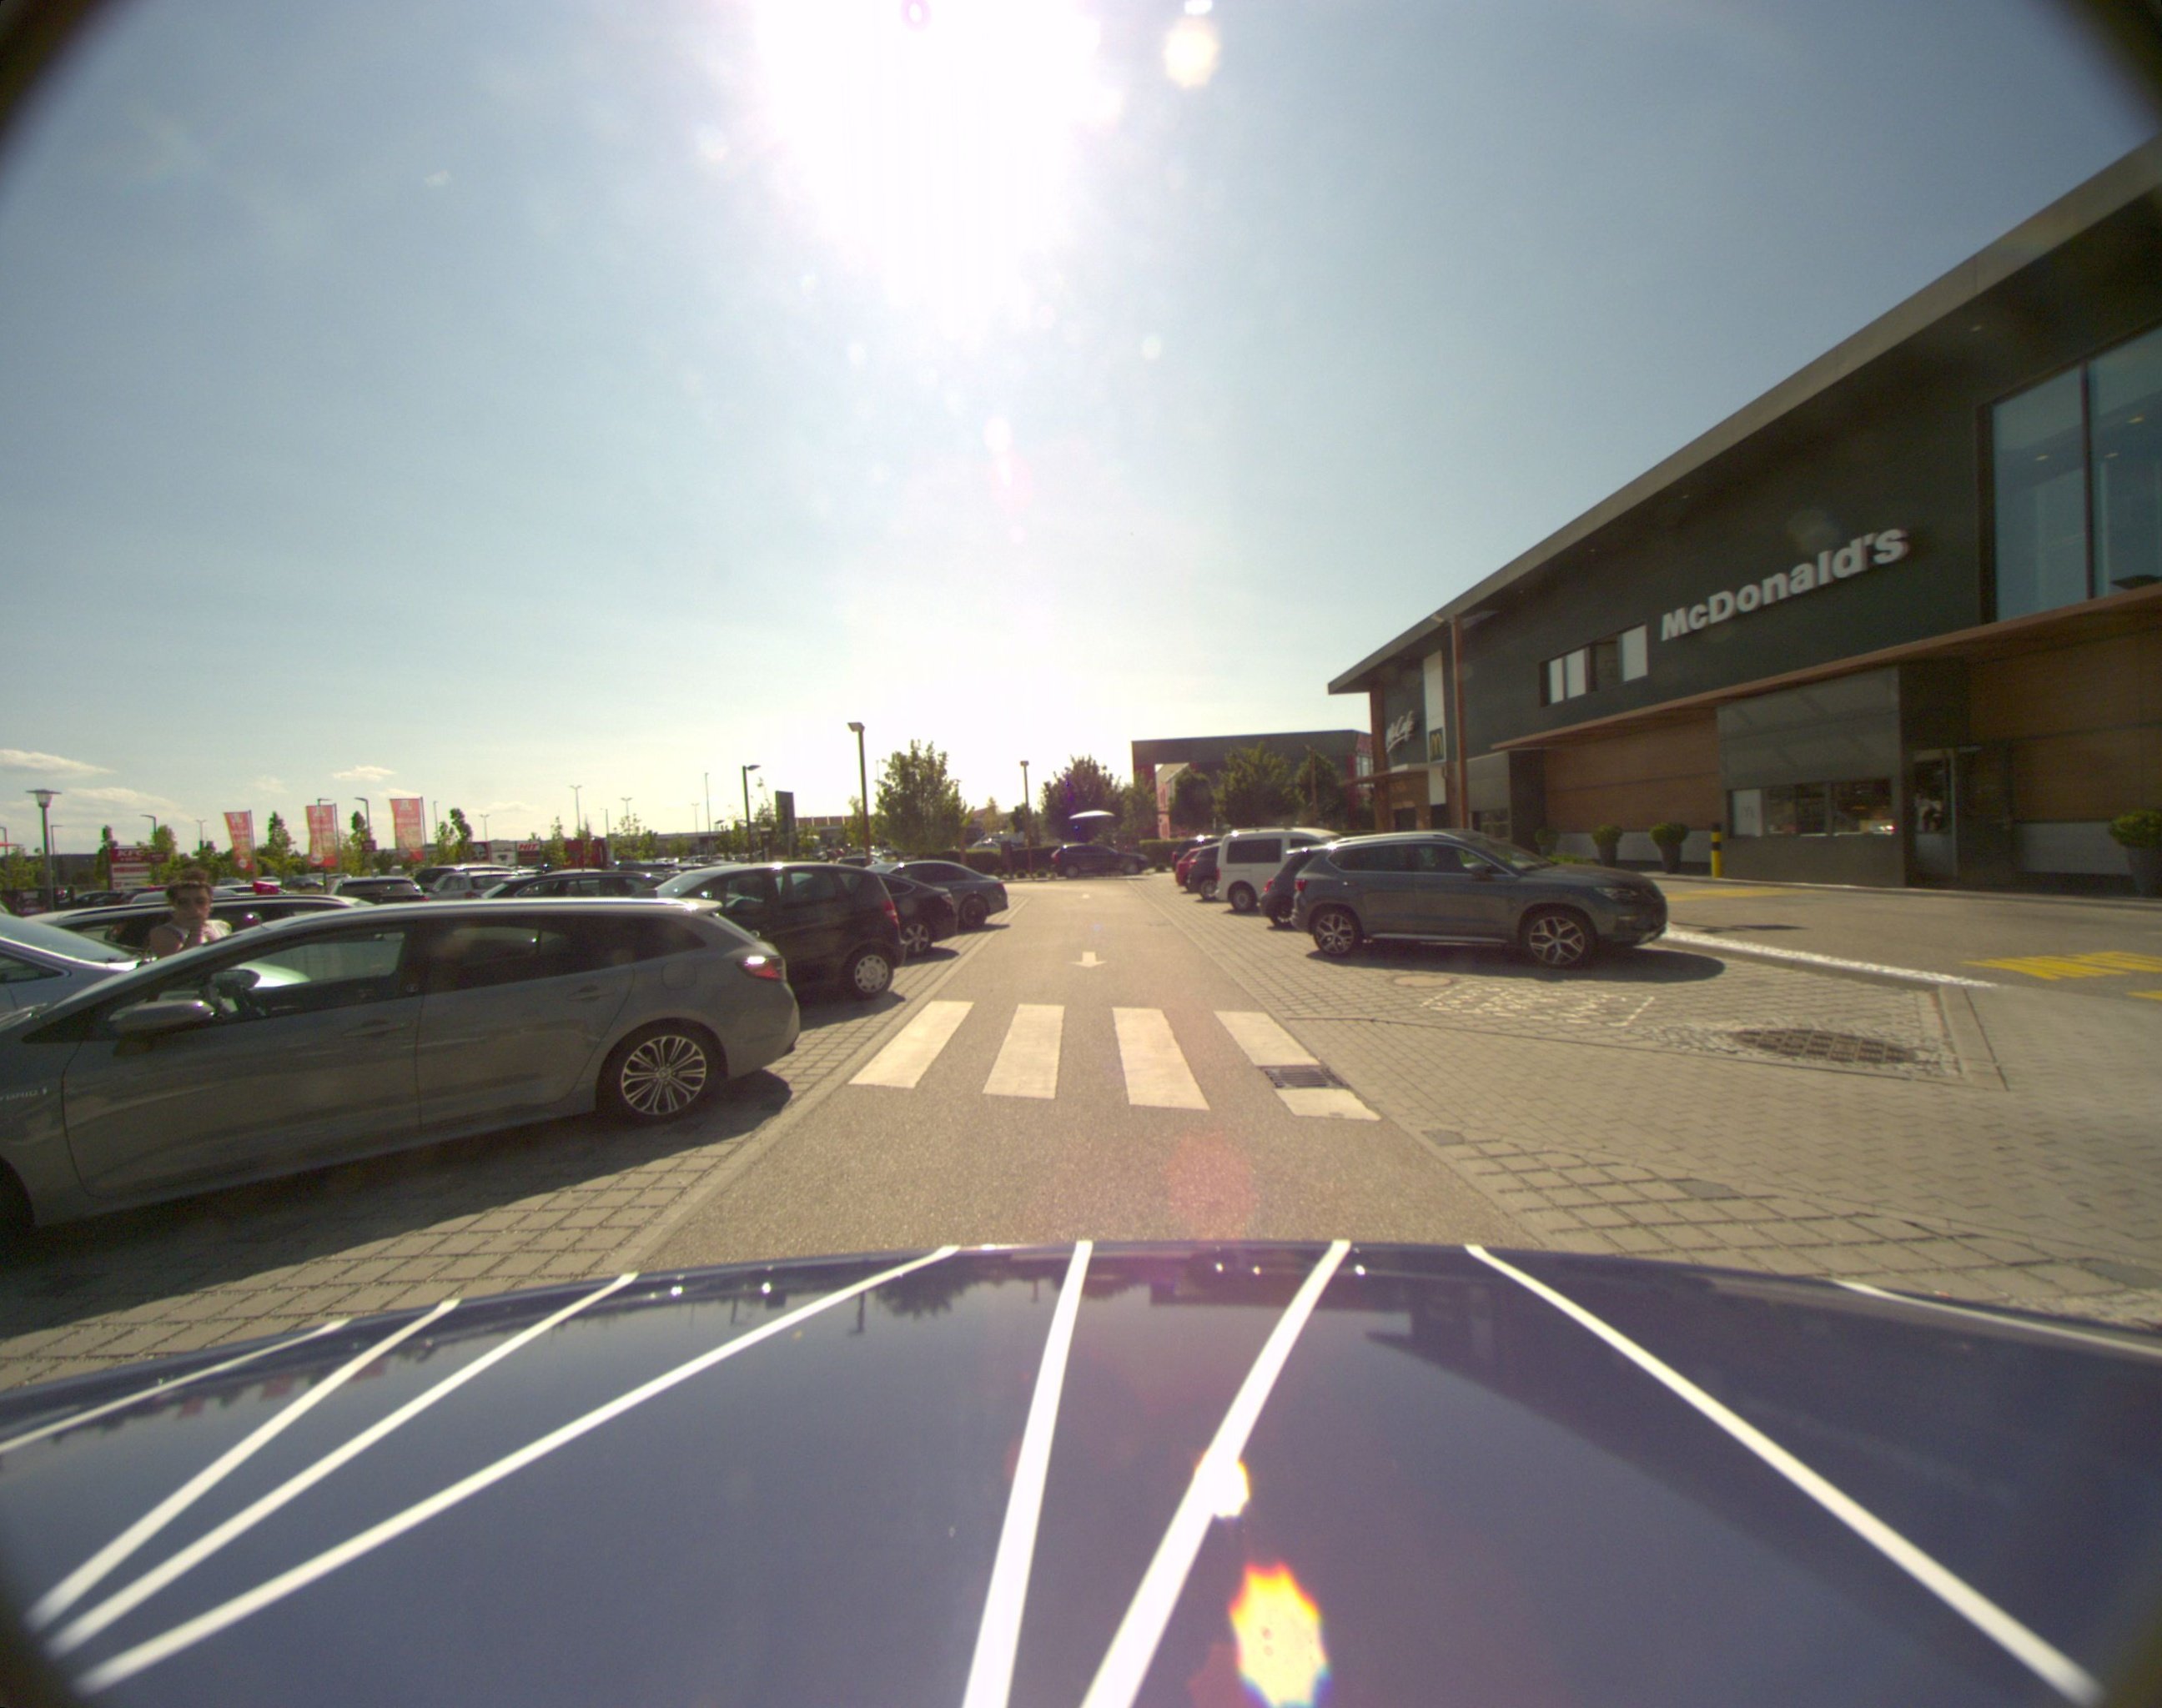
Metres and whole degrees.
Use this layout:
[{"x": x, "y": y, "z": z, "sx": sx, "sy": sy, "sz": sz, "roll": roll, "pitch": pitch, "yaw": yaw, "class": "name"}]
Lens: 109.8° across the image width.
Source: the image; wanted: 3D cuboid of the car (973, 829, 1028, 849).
[{"x": -10.247, "y": -1.915, "z": 97.139, "sx": 6.567, "sy": 2.231, "sz": 2.300, "roll": -2, "pitch": 1, "yaw": 0, "class": "car"}]

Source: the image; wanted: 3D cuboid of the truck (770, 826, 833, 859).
[{"x": -31.193, "y": -1.252, "z": 84.579, "sx": 7.545, "sy": 3.333, "sz": 2.426, "roll": -1, "pitch": 2, "yaw": 34, "class": "truck"}]

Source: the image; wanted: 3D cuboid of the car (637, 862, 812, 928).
[{"x": -9.552, "y": 1.030, "z": 20.530, "sx": 3.910, "sy": 1.418, "sz": 1.702, "roll": -3, "pitch": 1, "yaw": -42, "class": "car"}]

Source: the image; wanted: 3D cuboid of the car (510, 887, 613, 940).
[{"x": -16.814, "y": 1.839, "z": 24.501, "sx": 4.669, "sy": 1.403, "sz": 1.715, "roll": -1, "pitch": 2, "yaw": 43, "class": "car"}]

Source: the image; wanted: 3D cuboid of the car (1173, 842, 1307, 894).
[{"x": 5.021, "y": 0.455, "z": 24.082, "sx": 3.763, "sy": 1.435, "sz": 1.678, "roll": -3, "pitch": 1, "yaw": 29, "class": "car"}]

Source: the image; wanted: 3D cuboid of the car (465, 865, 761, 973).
[{"x": -8.754, "y": 1.084, "z": 14.476, "sx": 4.425, "sy": 1.502, "sz": 1.978, "roll": -4, "pitch": 2, "yaw": -44, "class": "car"}]

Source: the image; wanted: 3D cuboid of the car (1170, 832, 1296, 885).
[{"x": 5.434, "y": 0.191, "z": 27.349, "sx": 4.029, "sy": 1.696, "sz": 1.678, "roll": -2, "pitch": 2, "yaw": 32, "class": "car"}]

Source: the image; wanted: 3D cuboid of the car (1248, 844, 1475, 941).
[{"x": 4.910, "y": 0.643, "z": 13.472, "sx": 3.406, "sy": 1.473, "sz": 1.571, "roll": -2, "pitch": 1, "yaw": 38, "class": "car"}]

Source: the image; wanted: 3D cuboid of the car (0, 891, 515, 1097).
[{"x": -8.429, "y": 1.223, "z": 7.659, "sx": 1.788, "sy": 1.400, "sz": 4.090, "roll": -1, "pitch": 1, "yaw": 45, "class": "car"}]

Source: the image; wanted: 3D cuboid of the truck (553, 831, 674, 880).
[{"x": -40.803, "y": 0.109, "z": 66.420, "sx": 9.115, "sy": 3.844, "sz": 3.212, "roll": -2, "pitch": 1, "yaw": 12, "class": "truck"}]

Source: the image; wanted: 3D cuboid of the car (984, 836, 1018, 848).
[{"x": -9.898, "y": -1.462, "z": 94.104, "sx": 3.905, "sy": 1.334, "sz": 1.665, "roll": -2, "pitch": 1, "yaw": 0, "class": "car"}]

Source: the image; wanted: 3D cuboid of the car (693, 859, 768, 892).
[{"x": -16.721, "y": 1.011, "z": 36.159, "sx": 3.765, "sy": 1.414, "sz": 1.917, "roll": -1, "pitch": 2, "yaw": 44, "class": "car"}]

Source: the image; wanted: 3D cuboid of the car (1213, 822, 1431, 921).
[{"x": 5.204, "y": 0.352, "z": 16.684, "sx": 4.133, "sy": 1.910, "sz": 1.761, "roll": -1, "pitch": 2, "yaw": 40, "class": "car"}]

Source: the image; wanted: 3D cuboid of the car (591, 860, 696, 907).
[{"x": -16.465, "y": 1.094, "z": 28.527, "sx": 4.044, "sy": 1.547, "sz": 1.810, "roll": -2, "pitch": 2, "yaw": 35, "class": "car"}]

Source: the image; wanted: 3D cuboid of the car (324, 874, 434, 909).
[{"x": -35.216, "y": 1.854, "z": 38.235, "sx": 1.685, "sy": 1.445, "sz": 3.756, "roll": -2, "pitch": 1, "yaw": 8, "class": "car"}]

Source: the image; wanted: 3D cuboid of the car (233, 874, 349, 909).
[{"x": -40.543, "y": 1.894, "z": 39.120, "sx": 1.685, "sy": 1.445, "sz": 3.756, "roll": -2, "pitch": 1, "yaw": 8, "class": "car"}]

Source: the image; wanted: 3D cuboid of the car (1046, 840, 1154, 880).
[{"x": 0.879, "y": 0.263, "z": 36.751, "sx": 5.061, "sy": 1.620, "sz": 1.924, "roll": -3, "pitch": 1, "yaw": -1, "class": "car"}]

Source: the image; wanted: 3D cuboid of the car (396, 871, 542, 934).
[{"x": -17.163, "y": 1.307, "z": 21.260, "sx": 4.341, "sy": 1.503, "sz": 1.782, "roll": -2, "pitch": 2, "yaw": 32, "class": "car"}]

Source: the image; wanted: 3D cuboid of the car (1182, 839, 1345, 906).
[{"x": 4.878, "y": 0.494, "z": 20.483, "sx": 3.834, "sy": 1.623, "sz": 1.761, "roll": -2, "pitch": 2, "yaw": 34, "class": "car"}]

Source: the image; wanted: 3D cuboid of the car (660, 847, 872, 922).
[{"x": -7.794, "y": 0.684, "z": 19.082, "sx": 4.425, "sy": 1.502, "sz": 1.978, "roll": -4, "pitch": 2, "yaw": -44, "class": "car"}]

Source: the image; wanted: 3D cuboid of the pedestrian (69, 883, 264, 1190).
[{"x": -5.628, "y": 1.058, "z": 4.722, "sx": 0.564, "sy": 1.703, "sz": 0.609, "roll": -4, "pitch": 2, "yaw": -37, "class": "pedestrian"}]

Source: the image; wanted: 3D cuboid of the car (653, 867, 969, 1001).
[{"x": -3.945, "y": 1.038, "z": 11.552, "sx": 4.083, "sy": 1.440, "sz": 1.823, "roll": -4, "pitch": 2, "yaw": -44, "class": "car"}]

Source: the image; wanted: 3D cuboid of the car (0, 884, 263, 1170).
[{"x": -7.865, "y": 1.130, "z": 4.422, "sx": 4.075, "sy": 1.630, "sz": 1.743, "roll": -3, "pitch": 1, "yaw": -44, "class": "car"}]

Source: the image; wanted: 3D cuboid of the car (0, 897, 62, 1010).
[{"x": -16.931, "y": 1.476, "z": 11.207, "sx": 4.459, "sy": 1.463, "sz": 1.918, "roll": -1, "pitch": 2, "yaw": 40, "class": "car"}]

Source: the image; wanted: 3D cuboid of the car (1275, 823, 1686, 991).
[{"x": 4.874, "y": 0.613, "z": 9.712, "sx": 1.793, "sy": 1.594, "sz": 4.217, "roll": -7, "pitch": 2, "yaw": -44, "class": "car"}]

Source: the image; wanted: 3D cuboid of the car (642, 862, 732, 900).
[{"x": -16.682, "y": 1.131, "z": 32.122, "sx": 4.075, "sy": 1.414, "sz": 1.801, "roll": -2, "pitch": 2, "yaw": 38, "class": "car"}]

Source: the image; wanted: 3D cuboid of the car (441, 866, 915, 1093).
[{"x": -4.030, "y": 1.028, "z": 8.042, "sx": 4.007, "sy": 1.584, "sz": 1.807, "roll": -4, "pitch": 2, "yaw": -44, "class": "car"}]

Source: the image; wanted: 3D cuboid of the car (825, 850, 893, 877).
[{"x": -18.575, "y": 0.742, "z": 63.633, "sx": 5.017, "sy": 2.002, "sz": 2.000, "roll": -2, "pitch": 2, "yaw": 3, "class": "car"}]

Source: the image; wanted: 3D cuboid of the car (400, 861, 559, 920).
[{"x": -21.398, "y": 1.228, "z": 27.306, "sx": 2.071, "sy": 1.740, "sz": 4.367, "roll": -2, "pitch": 1, "yaw": 2, "class": "car"}]

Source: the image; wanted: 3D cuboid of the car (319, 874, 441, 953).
[{"x": -16.223, "y": 1.275, "z": 17.575, "sx": 1.824, "sy": 1.481, "sz": 3.989, "roll": -4, "pitch": 2, "yaw": -44, "class": "car"}]

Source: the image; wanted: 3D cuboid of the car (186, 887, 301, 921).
[{"x": -44.606, "y": 2.637, "z": 40.604, "sx": 1.685, "sy": 1.445, "sz": 3.756, "roll": -2, "pitch": 1, "yaw": 8, "class": "car"}]

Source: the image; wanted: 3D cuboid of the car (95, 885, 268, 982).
[{"x": -16.702, "y": 1.362, "z": 14.167, "sx": 3.989, "sy": 1.395, "sz": 1.824, "roll": -1, "pitch": 2, "yaw": 40, "class": "car"}]

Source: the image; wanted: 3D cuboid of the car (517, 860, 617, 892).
[{"x": -26.391, "y": 1.091, "z": 39.211, "sx": 1.886, "sy": 1.390, "sz": 4.156, "roll": -2, "pitch": 1, "yaw": 8, "class": "car"}]

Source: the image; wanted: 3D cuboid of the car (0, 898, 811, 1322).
[{"x": -4.208, "y": 1.122, "z": 4.295, "sx": 4.672, "sy": 1.438, "sz": 1.830, "roll": -2, "pitch": 0, "yaw": -43, "class": "car"}]

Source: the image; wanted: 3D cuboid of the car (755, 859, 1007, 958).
[{"x": -3.908, "y": 0.974, "z": 15.442, "sx": 4.551, "sy": 1.502, "sz": 1.882, "roll": -4, "pitch": 2, "yaw": -44, "class": "car"}]

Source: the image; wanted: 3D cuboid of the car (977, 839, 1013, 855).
[{"x": -10.083, "y": -0.815, "z": 89.135, "sx": 3.998, "sy": 1.718, "sz": 1.893, "roll": -3, "pitch": 1, "yaw": -4, "class": "car"}]

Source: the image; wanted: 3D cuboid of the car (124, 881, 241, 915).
[{"x": -49.079, "y": 2.374, "z": 41.613, "sx": 1.685, "sy": 1.503, "sz": 3.756, "roll": -2, "pitch": 1, "yaw": 8, "class": "car"}]
